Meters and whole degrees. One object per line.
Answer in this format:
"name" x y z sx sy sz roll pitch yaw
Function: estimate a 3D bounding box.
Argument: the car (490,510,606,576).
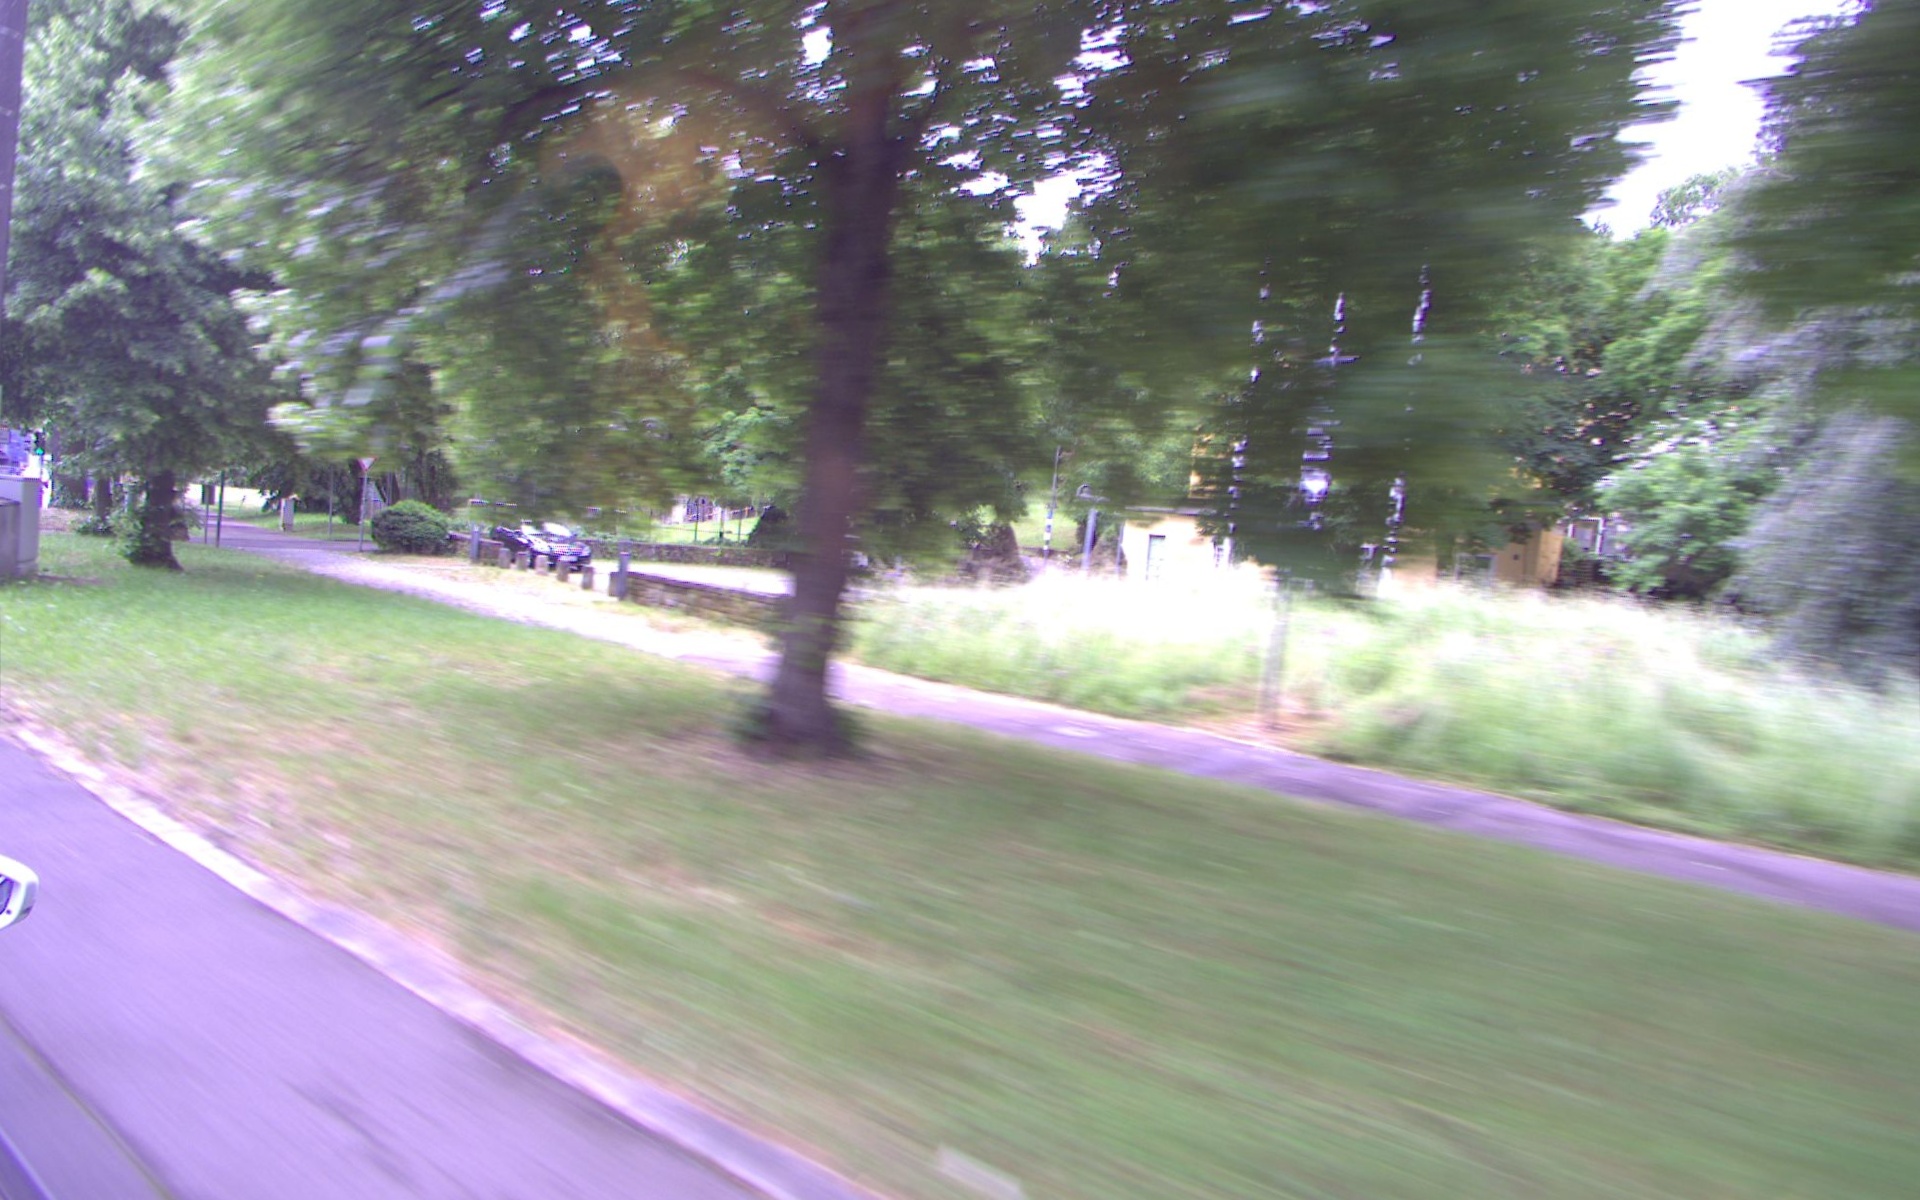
"car" -12.267 -1.728 29.765 1.896 1.451 4.413 2 6 -40

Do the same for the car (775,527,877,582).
"car" -5.134 -1.757 38.126 1.981 1.676 3.952 -1 8 -40

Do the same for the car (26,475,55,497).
"car" -96.179 -11.881 105.261 1.836 1.956 4.716 4 2 -39
